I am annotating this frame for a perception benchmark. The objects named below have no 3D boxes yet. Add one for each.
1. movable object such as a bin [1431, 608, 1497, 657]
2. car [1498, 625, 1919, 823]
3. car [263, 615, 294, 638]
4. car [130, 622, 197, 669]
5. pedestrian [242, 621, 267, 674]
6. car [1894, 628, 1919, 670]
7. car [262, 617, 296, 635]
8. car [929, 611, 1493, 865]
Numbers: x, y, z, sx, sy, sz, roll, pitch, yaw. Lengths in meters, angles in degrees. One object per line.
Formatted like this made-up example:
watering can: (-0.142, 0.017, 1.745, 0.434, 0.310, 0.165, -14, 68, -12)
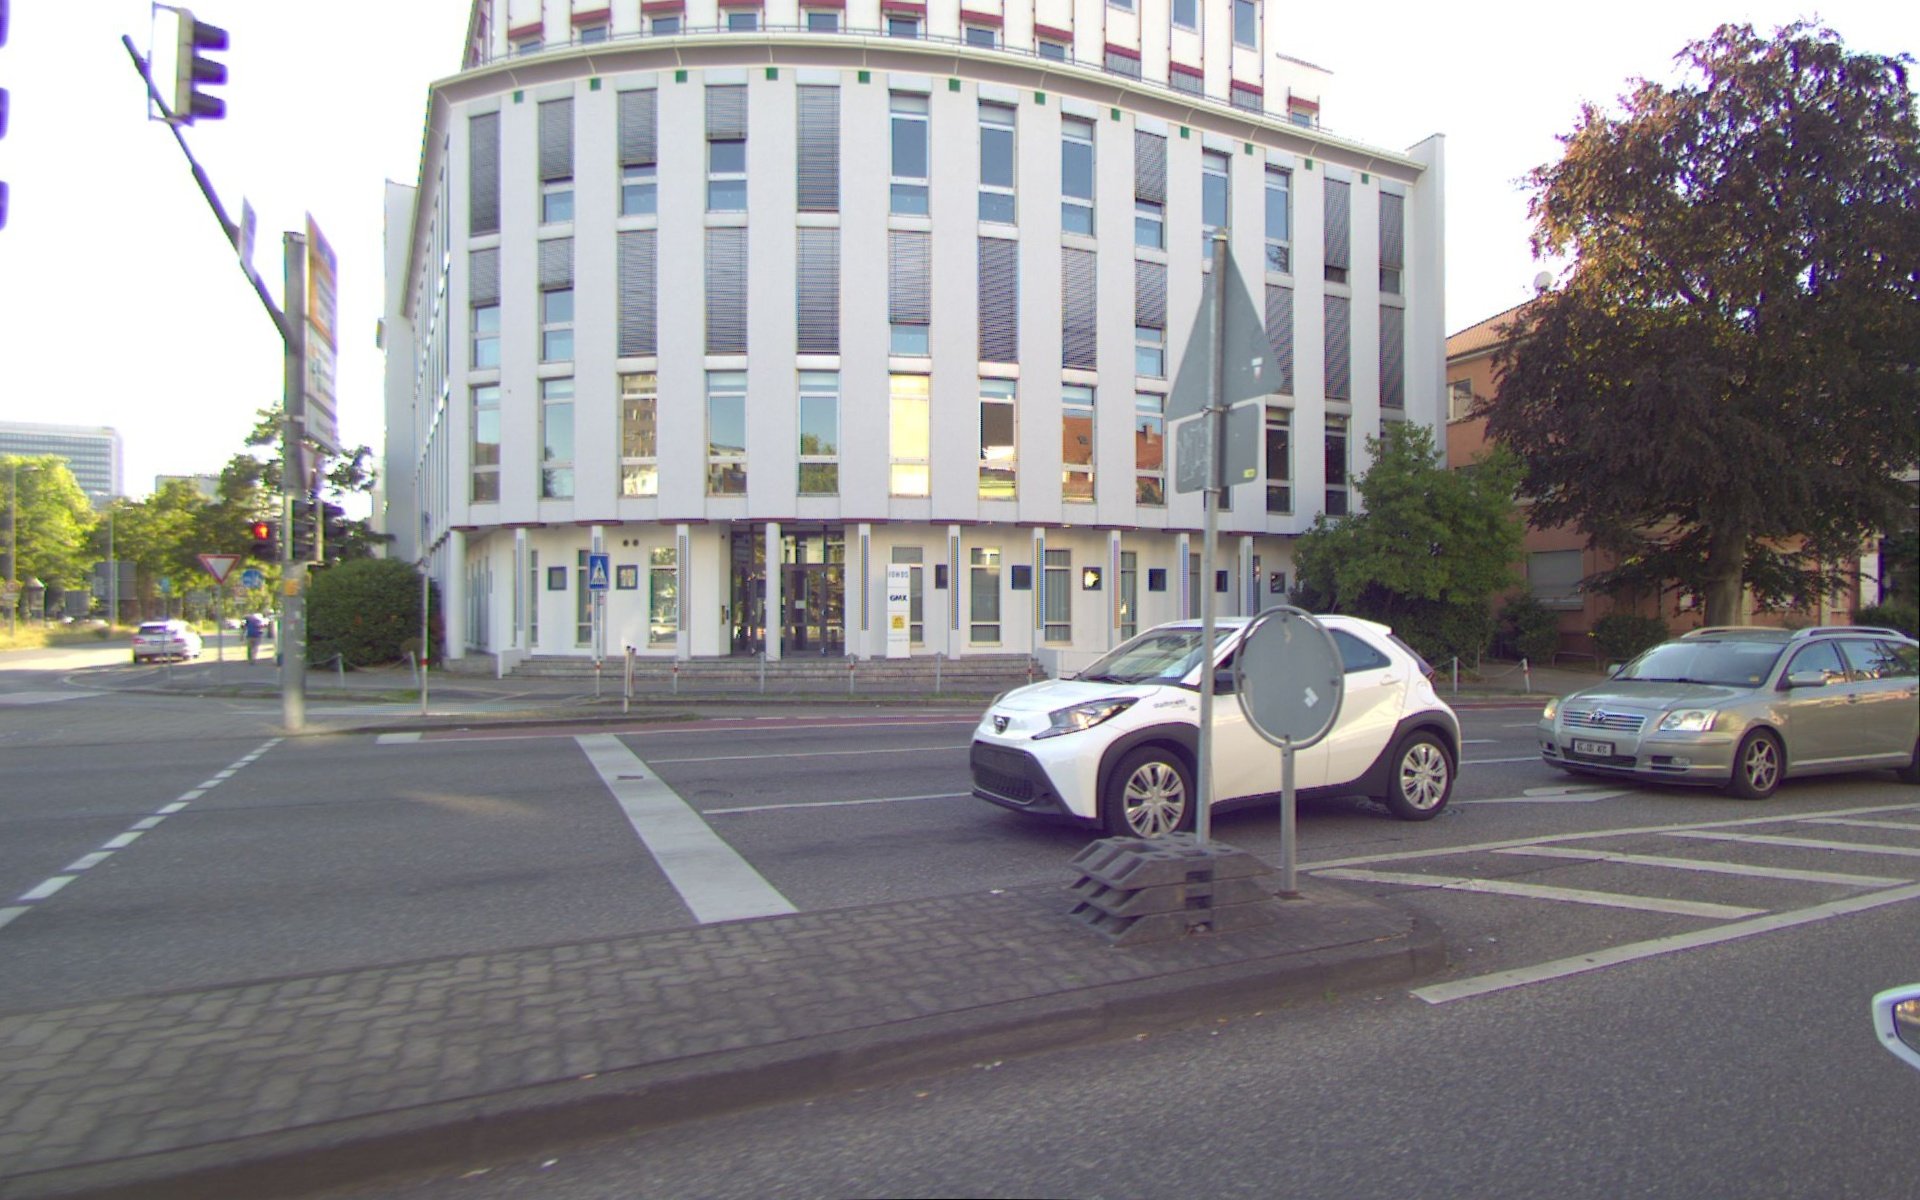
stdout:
movable object such as a bin: (17.740, 1.142, 35.403, 1.435, 1.673, 1.500, 0, -1, -21)
car: (7.626, 1.039, 9.843, 4.541, 1.534, 1.822, 0, -1, -25)
car: (-61.458, 2.344, 90.616, 1.976, 2.040, 3.969, 0, -1, -30)
car: (-31.763, 1.765, 40.146, 1.982, 1.751, 3.958, 0, -1, -37)
pedestrian: (-24.295, 1.620, 34.602, 0.691, 1.814, 0.477, 0, -1, -35)
car: (35.965, 1.759, 35.851, 1.792, 1.506, 3.484, 0, -1, -28)
car: (-56.656, 2.145, 83.603, 1.976, 1.506, 3.969, 0, -1, -30)
car: (1.882, 0.832, 7.554, 3.849, 1.480, 1.822, 0, -1, -25)
